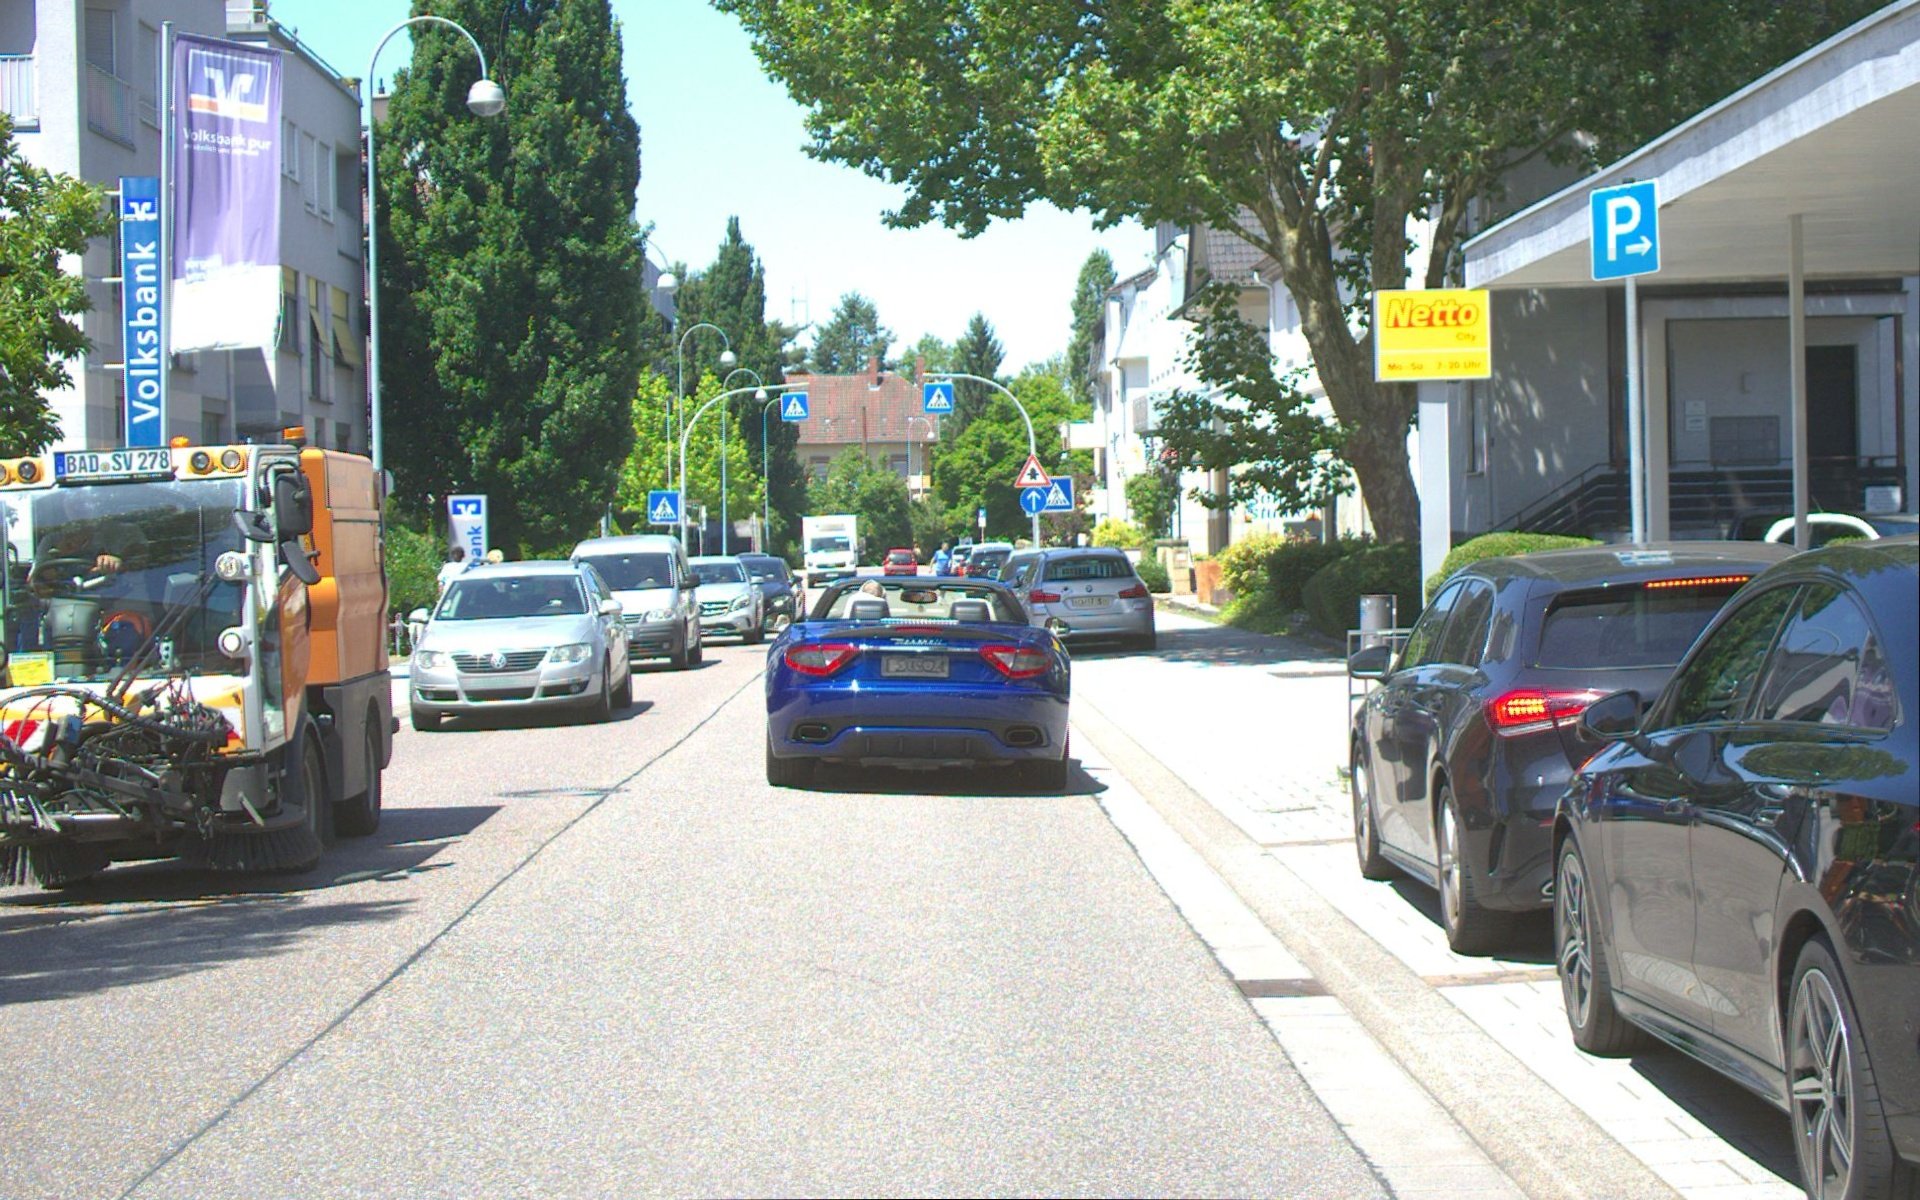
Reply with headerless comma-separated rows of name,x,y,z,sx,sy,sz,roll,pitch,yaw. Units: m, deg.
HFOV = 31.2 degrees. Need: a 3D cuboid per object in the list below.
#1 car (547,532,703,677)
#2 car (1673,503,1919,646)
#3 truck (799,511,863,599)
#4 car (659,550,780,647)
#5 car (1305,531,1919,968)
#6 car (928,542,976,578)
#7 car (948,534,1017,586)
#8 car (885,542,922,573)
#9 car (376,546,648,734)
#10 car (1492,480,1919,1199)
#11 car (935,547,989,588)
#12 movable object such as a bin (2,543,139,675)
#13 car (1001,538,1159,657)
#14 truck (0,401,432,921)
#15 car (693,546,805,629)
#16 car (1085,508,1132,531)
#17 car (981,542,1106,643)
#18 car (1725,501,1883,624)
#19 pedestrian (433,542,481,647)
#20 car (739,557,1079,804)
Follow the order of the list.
car,-4.462,0.018,46.243,1.769,1.761,4.138,-3,2,-2
car,9.946,-0.302,37.922,1.843,1.448,4.000,-4,1,-28
truck,-5.431,-1.898,143.851,2.420,3.470,7.004,-3,1,-3
car,-4.004,-0.058,57.713,1.769,1.471,4.138,-3,1,-1
car,2.557,0.486,13.738,1.845,1.409,4.163,-2,0,0
car,-0.357,-1.779,150.820,1.950,1.471,4.138,-3,1,-1
car,0.670,-1.233,105.702,1.950,1.471,4.138,-3,1,-1
car,-2.800,-2.079,169.542,1.769,1.471,4.138,-1,0,-1
car,-4.132,0.308,32.438,1.949,1.503,4.797,-3,2,-1
car,2.621,0.498,8.201,1.894,1.525,4.569,-2,0,0
car,0.072,-1.268,133.964,1.950,1.471,4.138,-3,1,-1
movable object such as a bin,-10.980,0.099,42.490,1.356,1.489,1.297,-3,3,-4
car,1.649,-0.073,48.765,1.976,1.445,4.349,-3,2,-1
truck,-3.835,0.210,16.607,1.804,2.110,4.715,-3,1,-1
car,-4.051,-0.271,66.611,1.950,1.471,4.138,-3,1,-1
car,10.151,-5.512,234.900,1.952,1.471,4.134,-2,1,20
car,1.444,-0.163,61.011,1.976,1.551,4.349,-3,2,-1
car,11.295,-0.528,45.858,1.845,1.448,3.997,-4,1,15
pedestrian,-7.594,-0.093,51.917,0.587,1.569,0.781,-1,1,-1
car,-0.340,0.448,22.606,1.976,1.393,4.627,1,1,-1
